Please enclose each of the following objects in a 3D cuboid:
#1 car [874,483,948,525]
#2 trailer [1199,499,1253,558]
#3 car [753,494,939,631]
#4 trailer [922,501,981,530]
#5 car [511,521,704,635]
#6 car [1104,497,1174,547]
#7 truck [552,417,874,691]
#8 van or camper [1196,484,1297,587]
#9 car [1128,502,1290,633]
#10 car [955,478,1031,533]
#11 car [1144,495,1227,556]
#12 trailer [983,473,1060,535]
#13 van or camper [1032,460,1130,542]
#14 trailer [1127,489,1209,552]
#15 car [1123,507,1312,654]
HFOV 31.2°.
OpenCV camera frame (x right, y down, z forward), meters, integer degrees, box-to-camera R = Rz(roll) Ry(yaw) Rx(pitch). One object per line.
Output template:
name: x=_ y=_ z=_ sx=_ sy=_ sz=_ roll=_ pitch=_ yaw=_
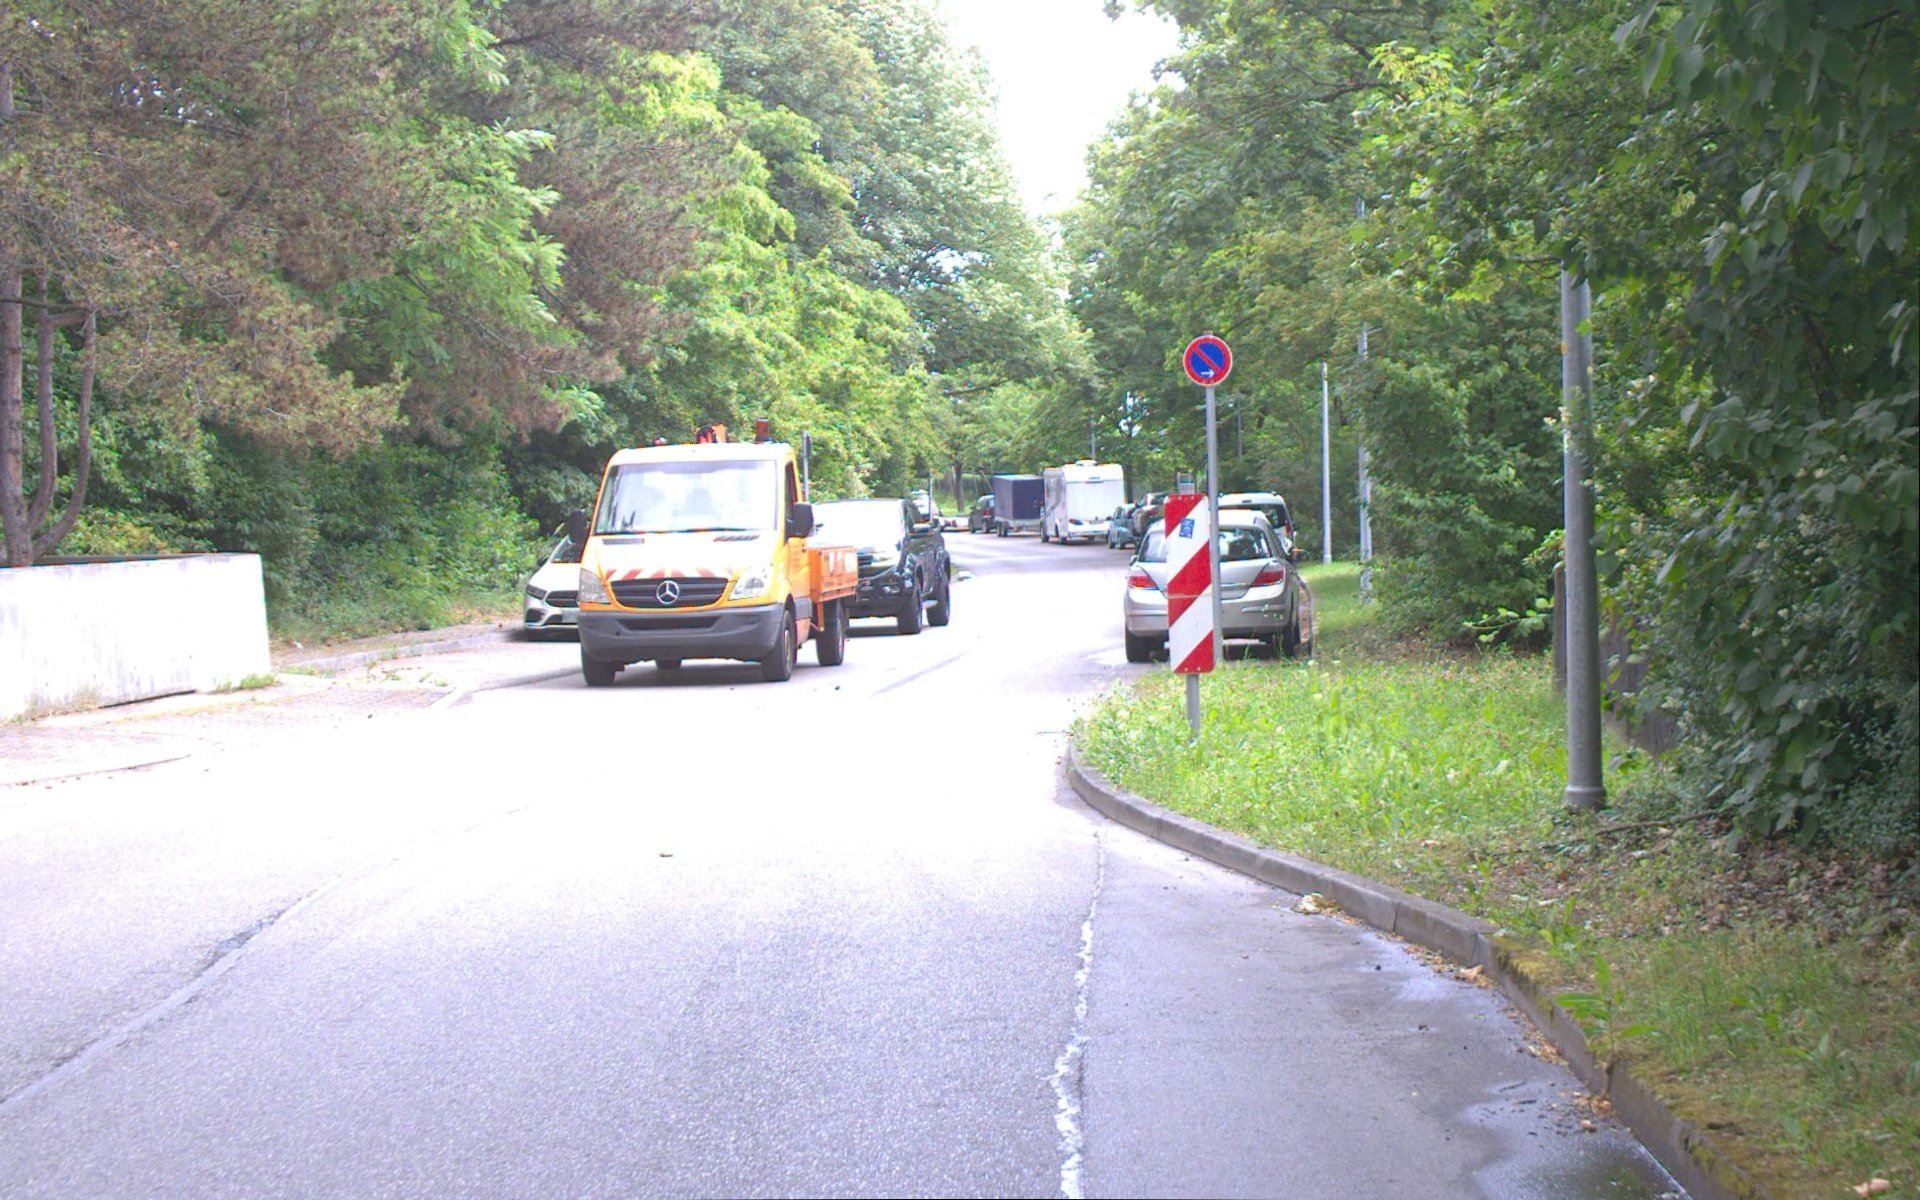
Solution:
car: x=-2.233 y=-4.376 z=156.046 sx=2.034 sy=1.797 sz=4.084 roll=-3 pitch=3 yaw=-20
trailer: x=7.312 y=-1.972 z=94.685 sx=1.278 sy=1.579 sz=2.460 roll=-1 pitch=2 yaw=1
car: x=-1.484 y=-0.547 z=46.943 sx=1.994 sy=1.729 sz=5.336 roll=-1 pitch=1 yaw=4
trailer: x=-0.365 y=-3.618 z=146.920 sx=1.651 sy=1.083 sz=4.002 roll=-4 pitch=3 yaw=-12
car: x=-4.605 y=-0.329 z=45.495 sx=1.806 sy=1.398 sz=4.371 roll=0 pitch=2 yaw=4
car: x=6.052 y=-2.657 z=116.649 sx=1.799 sy=1.556 sz=3.836 roll=-2 pitch=2 yaw=-5
truck: x=-2.322 y=-0.523 z=34.165 sx=2.322 sy=2.461 sz=6.020 roll=1 pitch=2 yaw=4
van or camper: x=5.376 y=-1.179 z=64.698 sx=1.802 sy=1.831 sz=4.320 roll=-1 pitch=0 yaw=4
car: x=3.179 y=-0.457 z=43.473 sx=1.886 sy=1.501 sz=5.175 roll=-2 pitch=1 yaw=5
car: x=1.364 y=-3.956 z=143.099 sx=1.993 sy=2.018 sz=4.002 roll=-5 pitch=4 yaw=-15
car: x=6.610 y=-2.172 z=101.122 sx=1.792 sy=1.664 sz=4.502 roll=-2 pitch=0 yaw=-4
trailer: x=2.437 y=-3.863 z=137.687 sx=1.993 sy=2.390 sz=4.001 roll=-2 pitch=2 yaw=-15
van or camper: x=4.434 y=-3.655 z=127.053 sx=2.481 sy=2.866 sz=6.891 roll=-2 pitch=2 yaw=-7
trailer: x=6.462 y=-2.494 z=107.278 sx=1.979 sy=1.805 sz=5.150 roll=-2 pitch=2 yaw=-2
car: x=2.751 y=-0.241 z=36.038 sx=1.793 sy=1.406 sz=4.058 roll=-2 pitch=1 yaw=6
